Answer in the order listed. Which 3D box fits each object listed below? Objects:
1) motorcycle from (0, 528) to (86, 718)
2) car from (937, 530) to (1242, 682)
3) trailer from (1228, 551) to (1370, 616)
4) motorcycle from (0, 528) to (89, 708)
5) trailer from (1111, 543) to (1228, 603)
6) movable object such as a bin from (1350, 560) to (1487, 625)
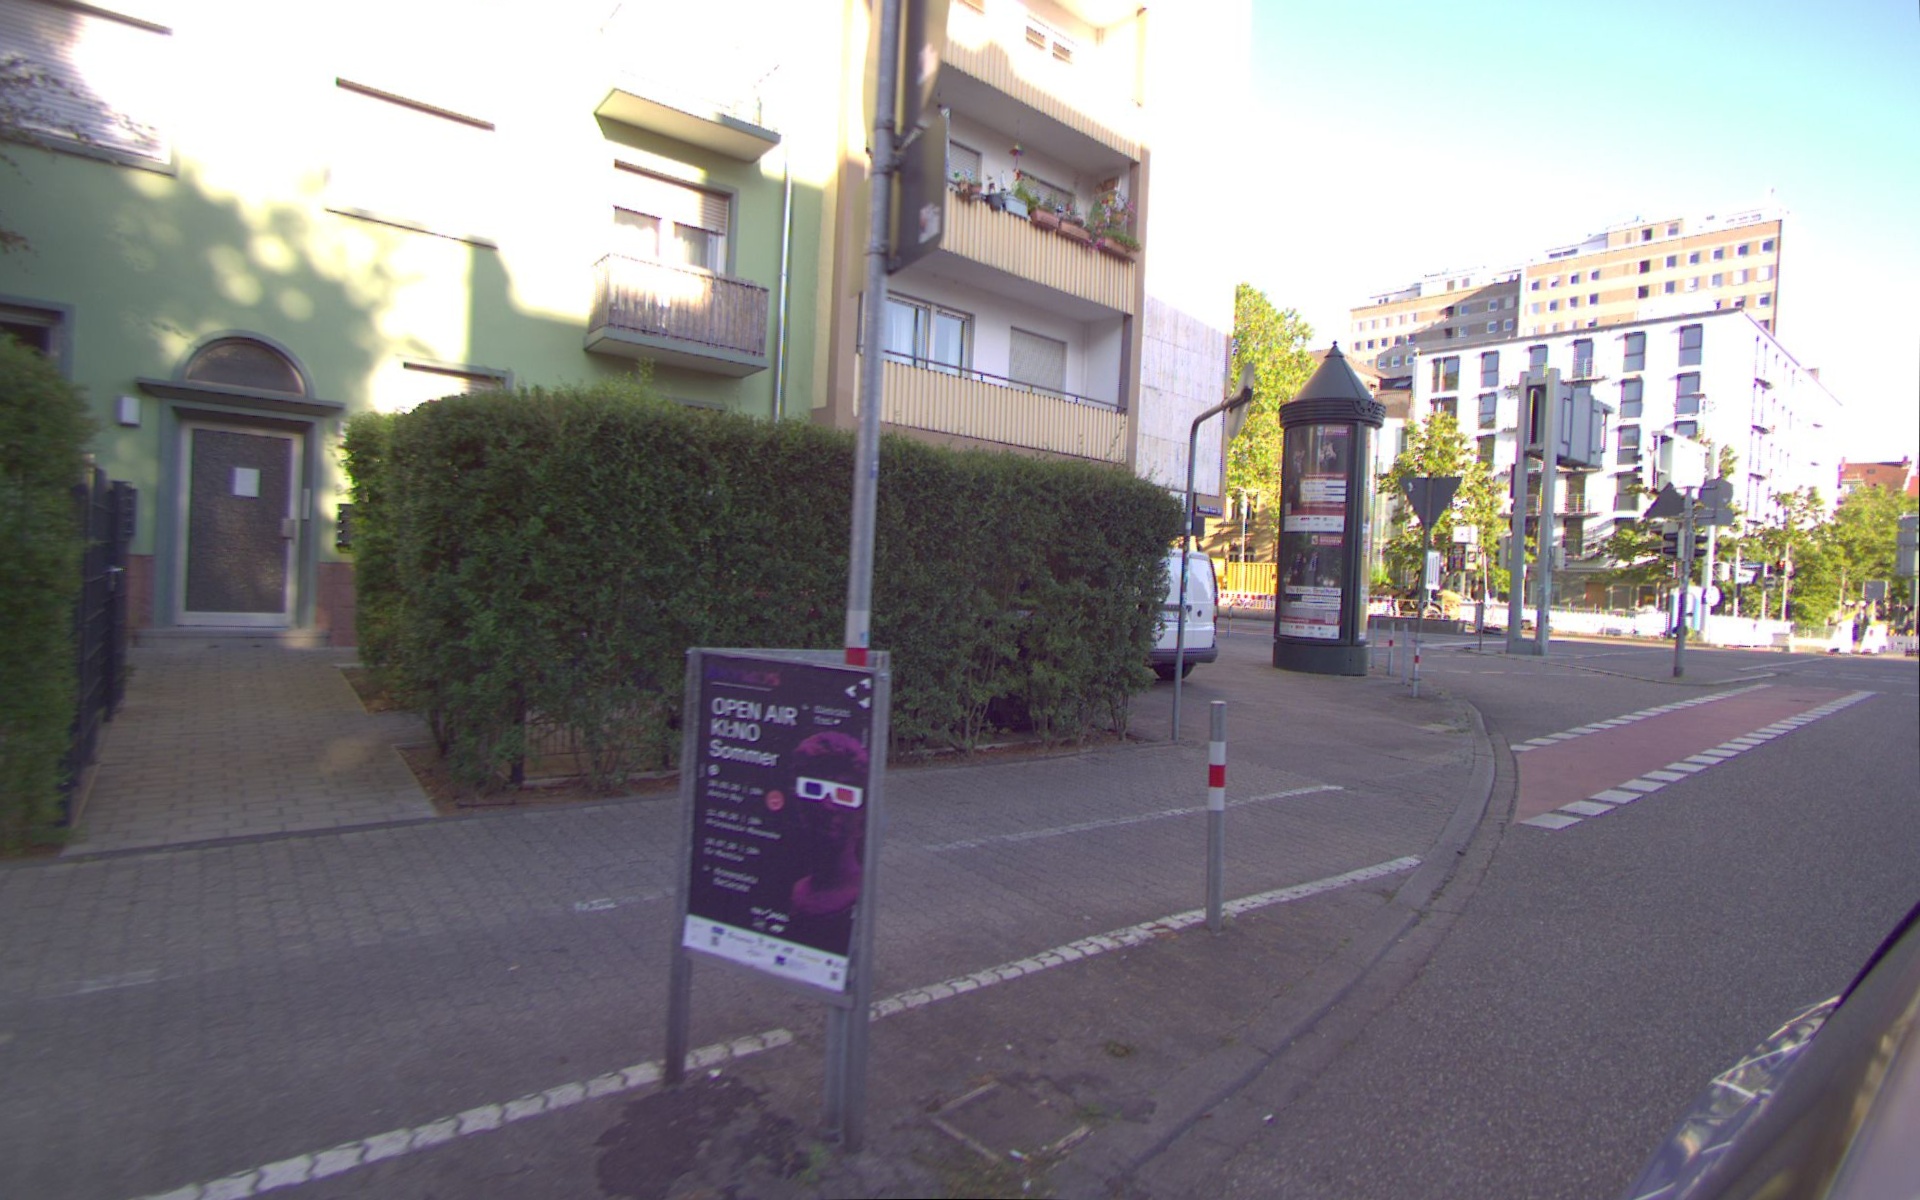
[{"bbox_3d":[-7.016,0.128,6.619,1.907,1.272,0.495,2,1,-39],"label":"motorcycle"},{"bbox_3d":[1.684,-0.001,14.375,1.828,1.836,4.097,2,1,-40],"label":"car"},{"bbox_3d":[16.709,-0.843,50.192,2.498,2.903,6.119,2,1,-43],"label":"trailer"},{"bbox_3d":[-7.348,0.102,7.028,1.907,1.272,0.495,2,1,-39],"label":"motorcycle"},{"bbox_3d":[11.493,-1.550,56.055,2.363,3.053,6.125,2,1,-39],"label":"trailer"},{"bbox_3d":[20.491,-0.375,45.433,1.963,2.625,5.213,2,1,-38],"label":"movable object such as a bin"}]
